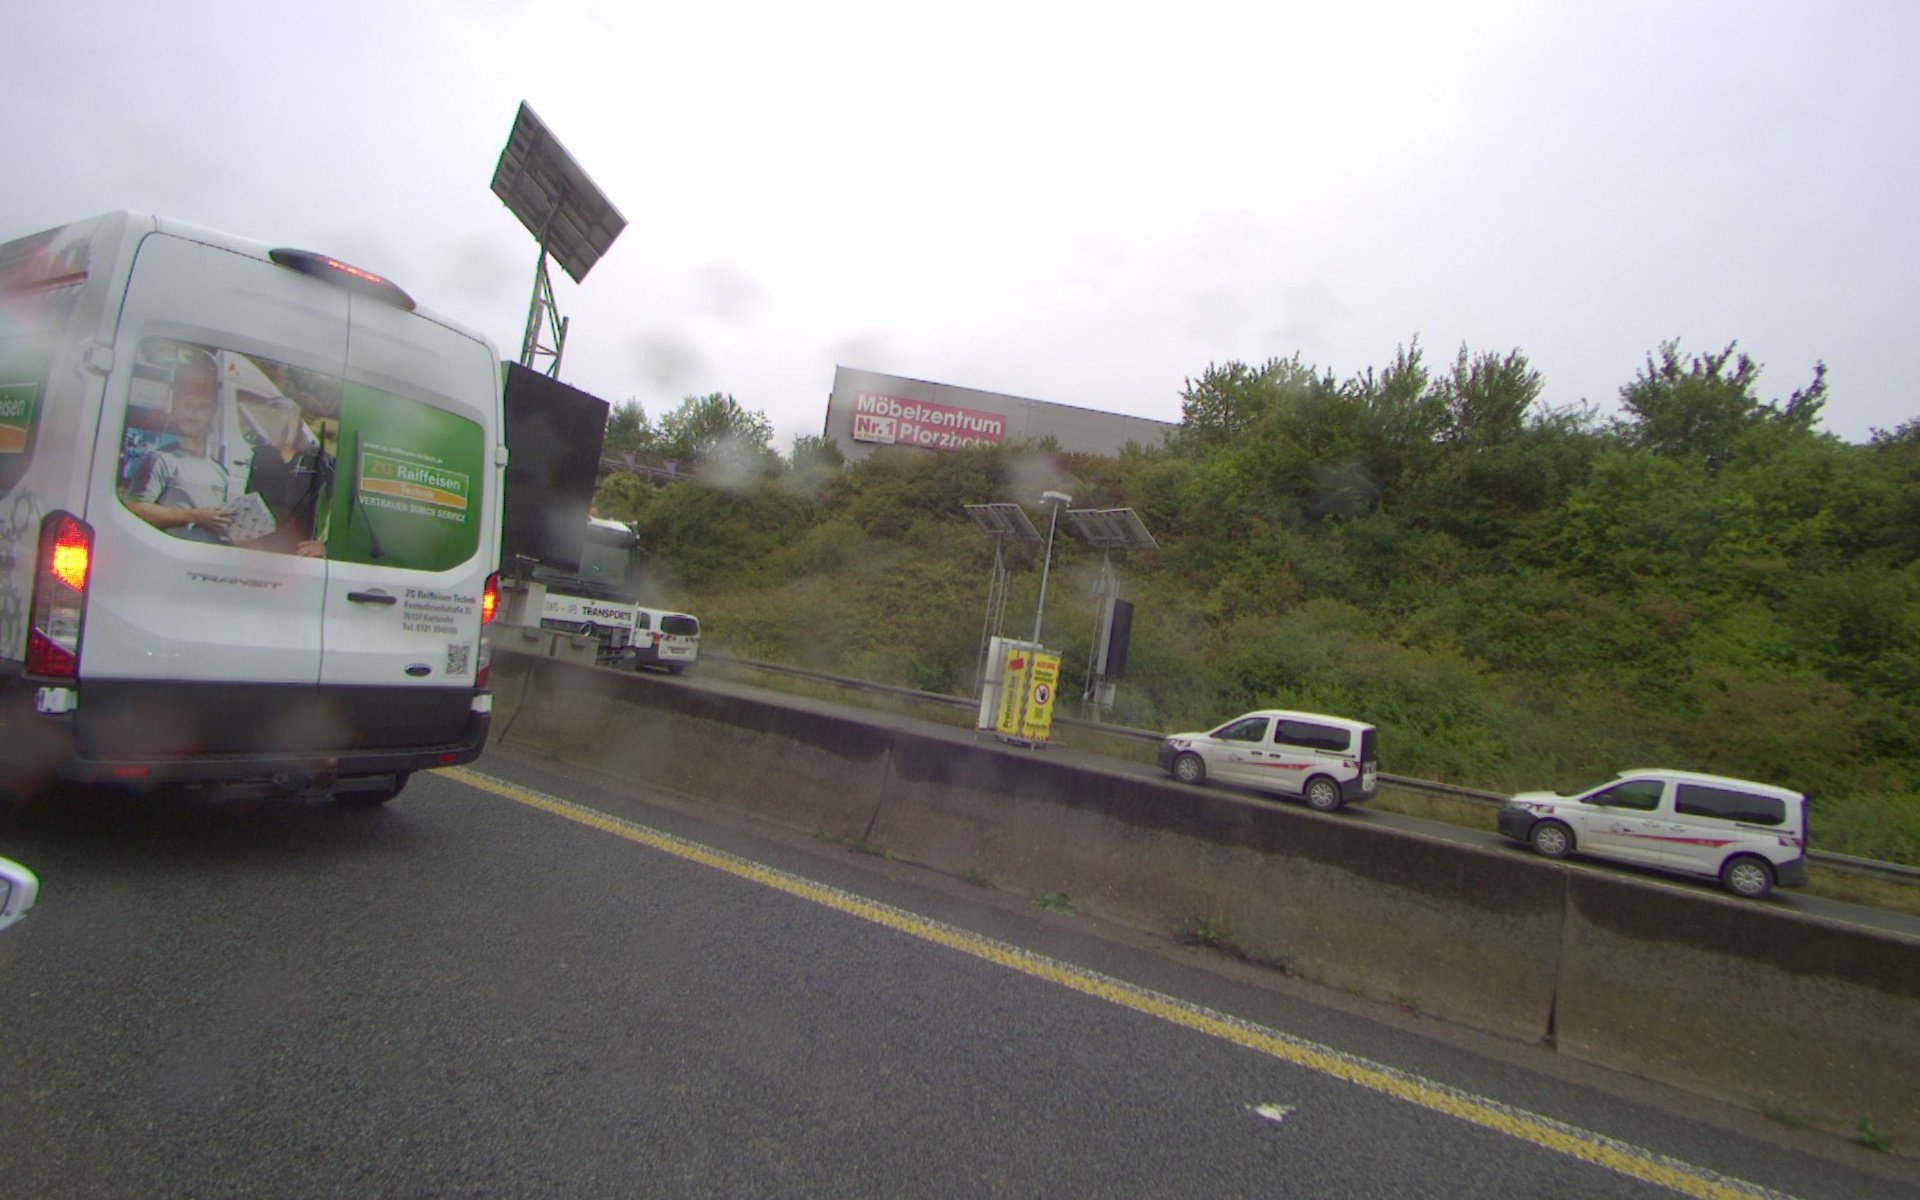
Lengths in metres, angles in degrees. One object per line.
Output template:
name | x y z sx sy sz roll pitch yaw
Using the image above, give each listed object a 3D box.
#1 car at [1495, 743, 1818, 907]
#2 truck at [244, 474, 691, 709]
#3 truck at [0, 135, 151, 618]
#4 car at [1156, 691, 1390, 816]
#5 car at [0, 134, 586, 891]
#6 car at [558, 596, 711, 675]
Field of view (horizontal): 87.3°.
car | 11.800 3.747 17.415 4.257 1.790 1.732 6 -2 31
truck | -9.073 -0.306 17.942 8.968 3.168 2.525 6 -1 32
truck | -20.557 -3.708 17.054 20.042 5.740 3.986 6 -1 32
car | 6.434 3.071 20.813 4.197 1.778 1.732 6 -2 31
car | -5.267 -0.485 6.063 6.016 2.707 2.148 6 -1 32
car | -10.212 1.088 31.410 4.652 1.850 1.945 6 -2 34
